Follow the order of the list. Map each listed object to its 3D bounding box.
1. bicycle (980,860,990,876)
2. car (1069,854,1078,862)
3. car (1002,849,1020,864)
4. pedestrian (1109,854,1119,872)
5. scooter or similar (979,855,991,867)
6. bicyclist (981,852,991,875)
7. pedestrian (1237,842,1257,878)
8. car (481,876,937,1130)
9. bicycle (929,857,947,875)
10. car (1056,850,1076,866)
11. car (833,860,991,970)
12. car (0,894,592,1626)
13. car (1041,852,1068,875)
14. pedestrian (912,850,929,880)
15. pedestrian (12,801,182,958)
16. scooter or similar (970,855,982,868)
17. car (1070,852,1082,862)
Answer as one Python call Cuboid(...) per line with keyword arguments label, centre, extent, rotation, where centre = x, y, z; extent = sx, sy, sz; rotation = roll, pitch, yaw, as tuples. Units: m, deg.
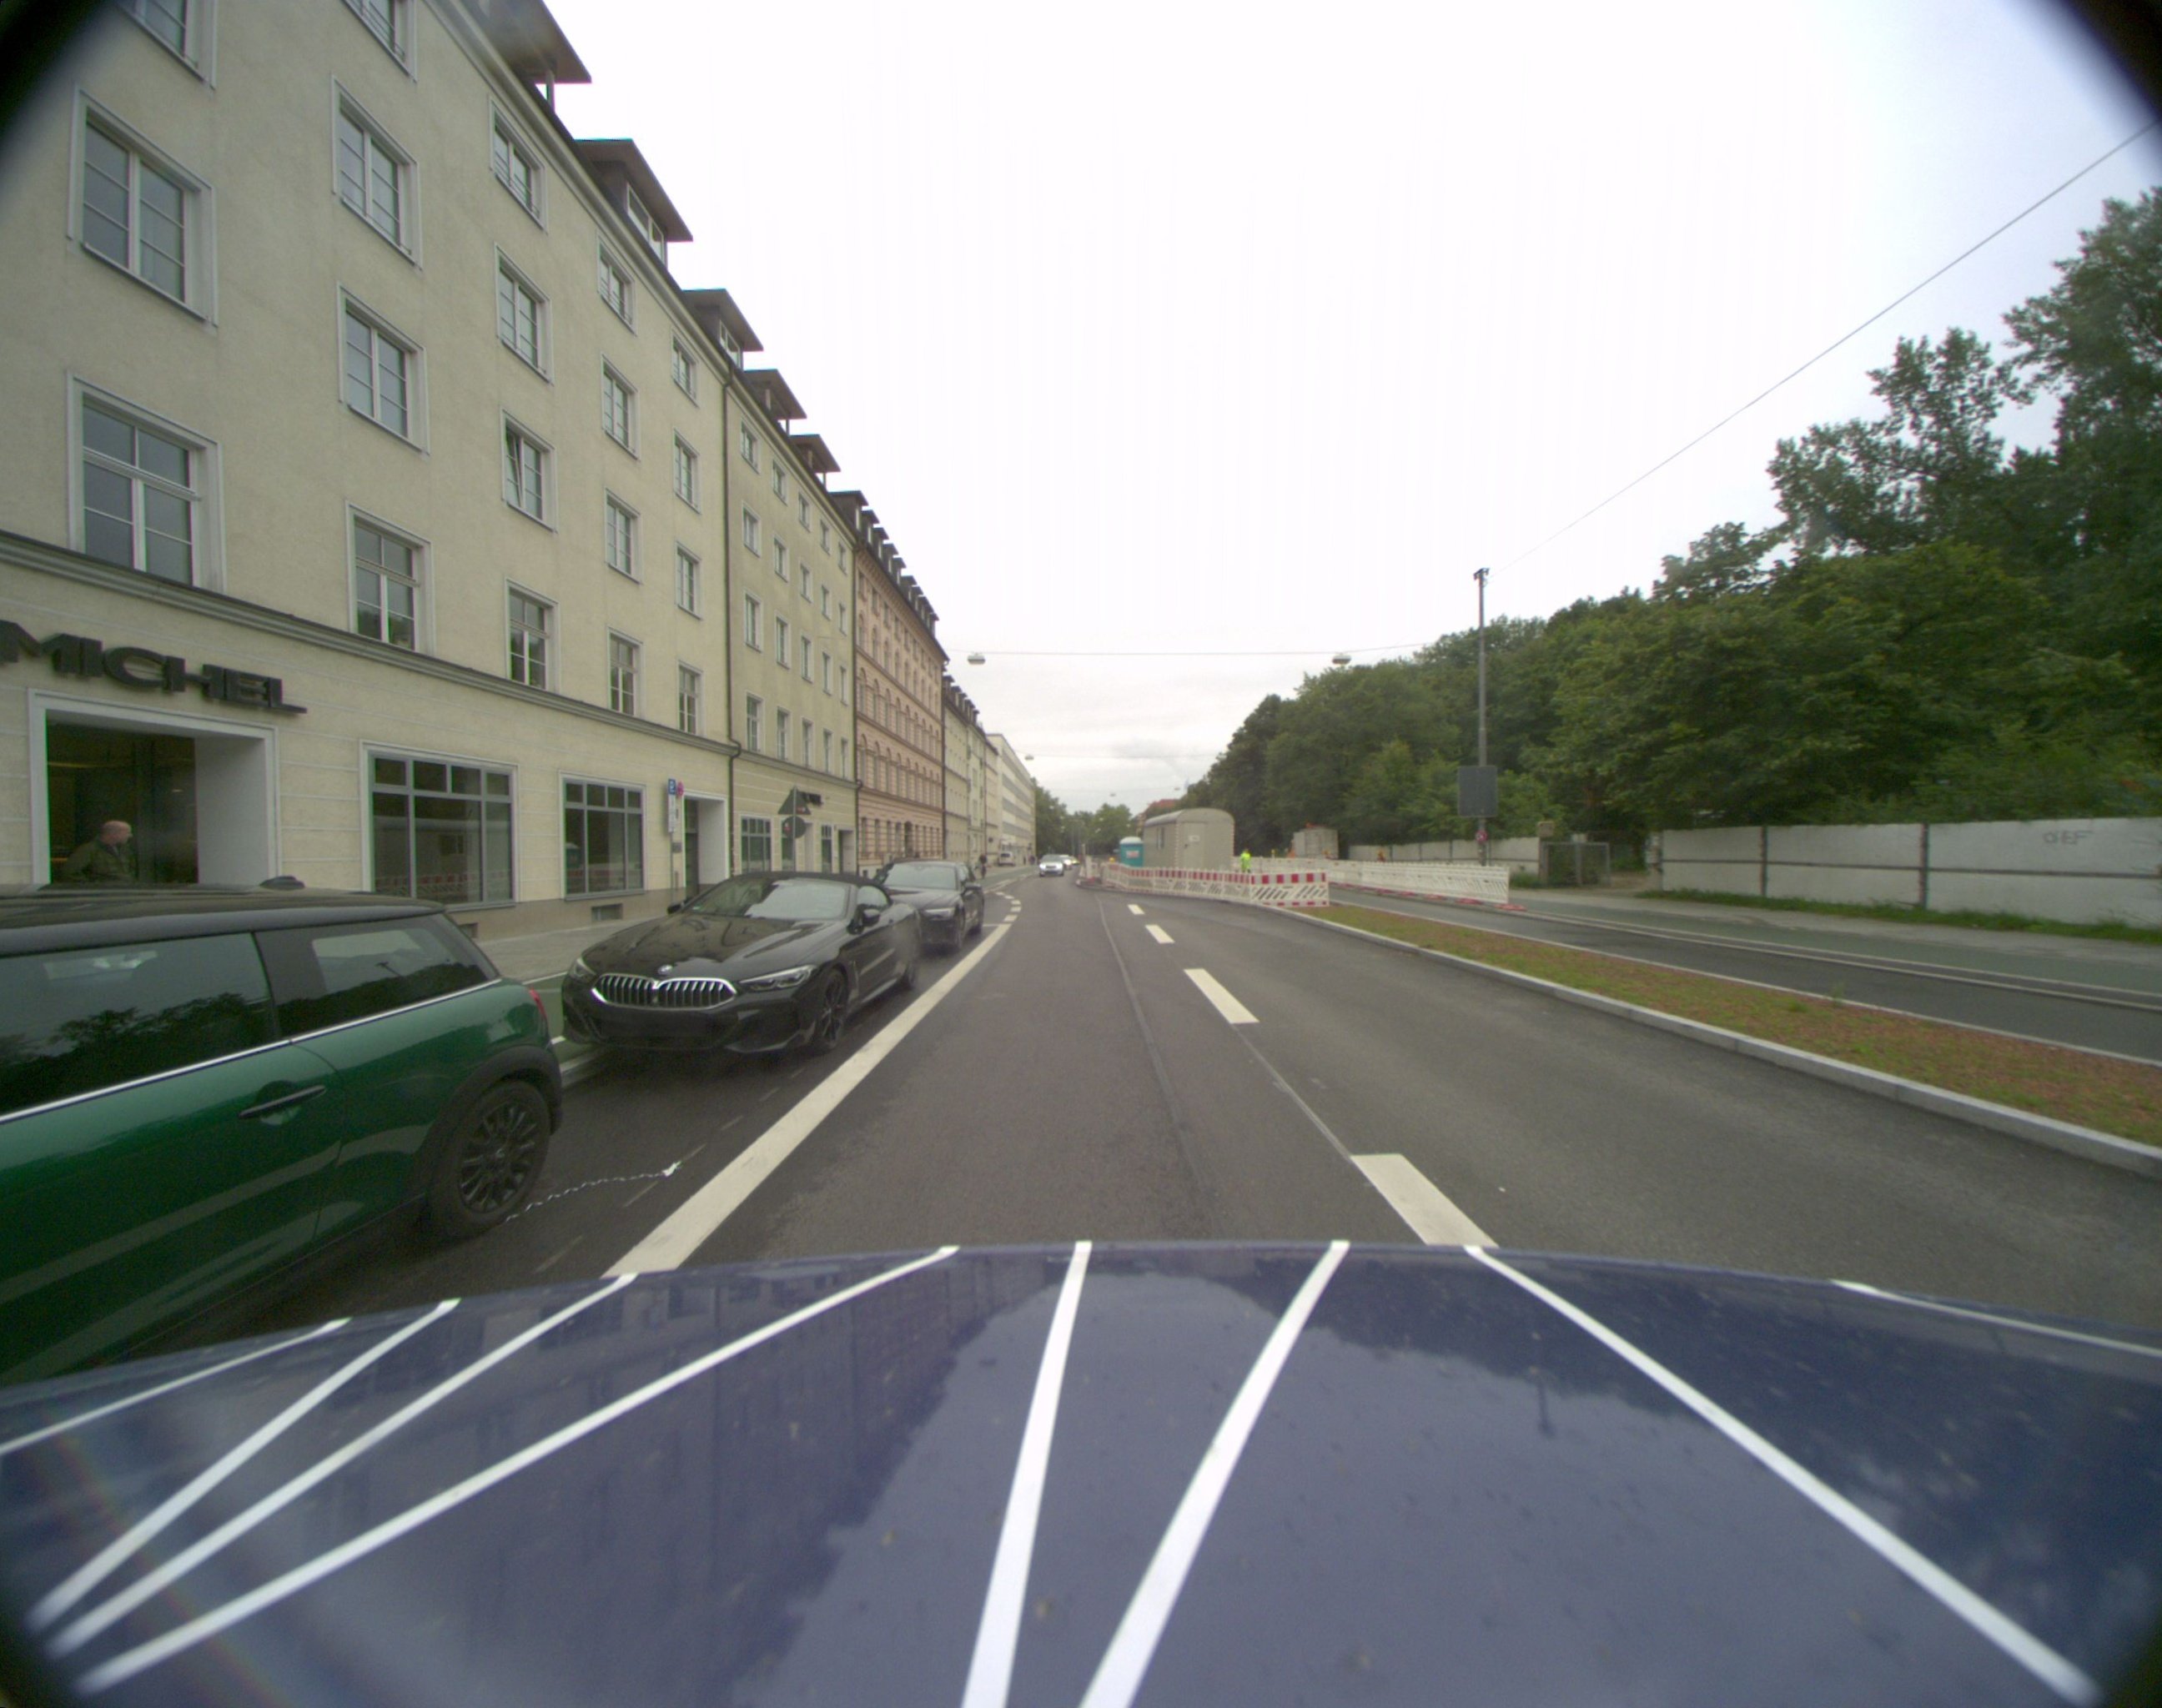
Cuboid(label="bicycle", centre=(-6.316, 0.897, 50.146), extent=(0.632, 1.031, 2.016), rotation=(-1, 0, -6))
Cuboid(label="car", centre=(-1.460, 0.827, 146.862), extent=(1.759, 1.461, 3.999), rotation=(-2, 0, -1))
Cuboid(label="car", centre=(-8.708, 0.267, 94.555), extent=(1.766, 1.821, 3.999), rotation=(-1, 0, 0))
Cuboid(label="pedestrian", centre=(3.418, 0.949, 79.431), extent=(0.860, 1.826, 0.874), rotation=(-1, 1, -7))
Cuboid(label="scooter or similar", centre=(-9.704, 0.696, 76.845), extent=(1.078, 1.185, 0.453), rotation=(-1, 1, -29))
Cuboid(label="bicyclist", centre=(-6.251, 0.620, 50.167), extent=(0.632, 1.459, 0.652), rotation=(-1, 1, -6))
Cuboid(label="pedestrian", centre=(9.117, 0.311, 41.768), extent=(0.890, 1.930, 0.875), rotation=(-1, 1, -2))
Cuboid(label="car", centre=(-2.809, 1.020, 7.181), extent=(1.830, 1.399, 4.719), rotation=(-2, 0, 2))
Cuboid(label="bicycle", centre=(-10.029, 0.840, 53.437), extent=(0.556, 1.170, 1.727), rotation=(0, 1, 15))
Cuboid(label="car", centre=(-1.519, 0.420, 74.506), extent=(1.759, 1.461, 3.998), rotation=(-2, 0, -4))
Cuboid(label="car", centre=(-2.746, 0.918, 13.398), extent=(1.813, 1.472, 4.461), rotation=(3, 0, -1))
Cuboid(label="car", centre=(-3.261, 0.984, 1.733), extent=(1.679, 1.512, 3.829), rotation=(-2, 0, 2))
Cuboid(label="car", centre=(-1.958, 0.650, 54.466), extent=(1.759, 1.461, 3.998), rotation=(-2, 0, -4))
Cuboid(label="pedestrian", centre=(-9.465, 0.639, 44.880), extent=(0.795, 1.735, 0.833), rotation=(-1, 1, 1))
Cuboid(label="pedestrian", centre=(-10.989, 0.270, 8.516), extent=(0.861, 1.679, 0.781), rotation=(0, 1, 2))
Cuboid(label="scooter or similar", centre=(-9.964, 0.687, 71.967), extent=(0.552, 1.238, 1.079), rotation=(0, 1, 35))
Cuboid(label="car", centre=(-0.842, 0.480, 116.275), extent=(1.759, 1.461, 3.999), rotation=(-2, 0, -1))
